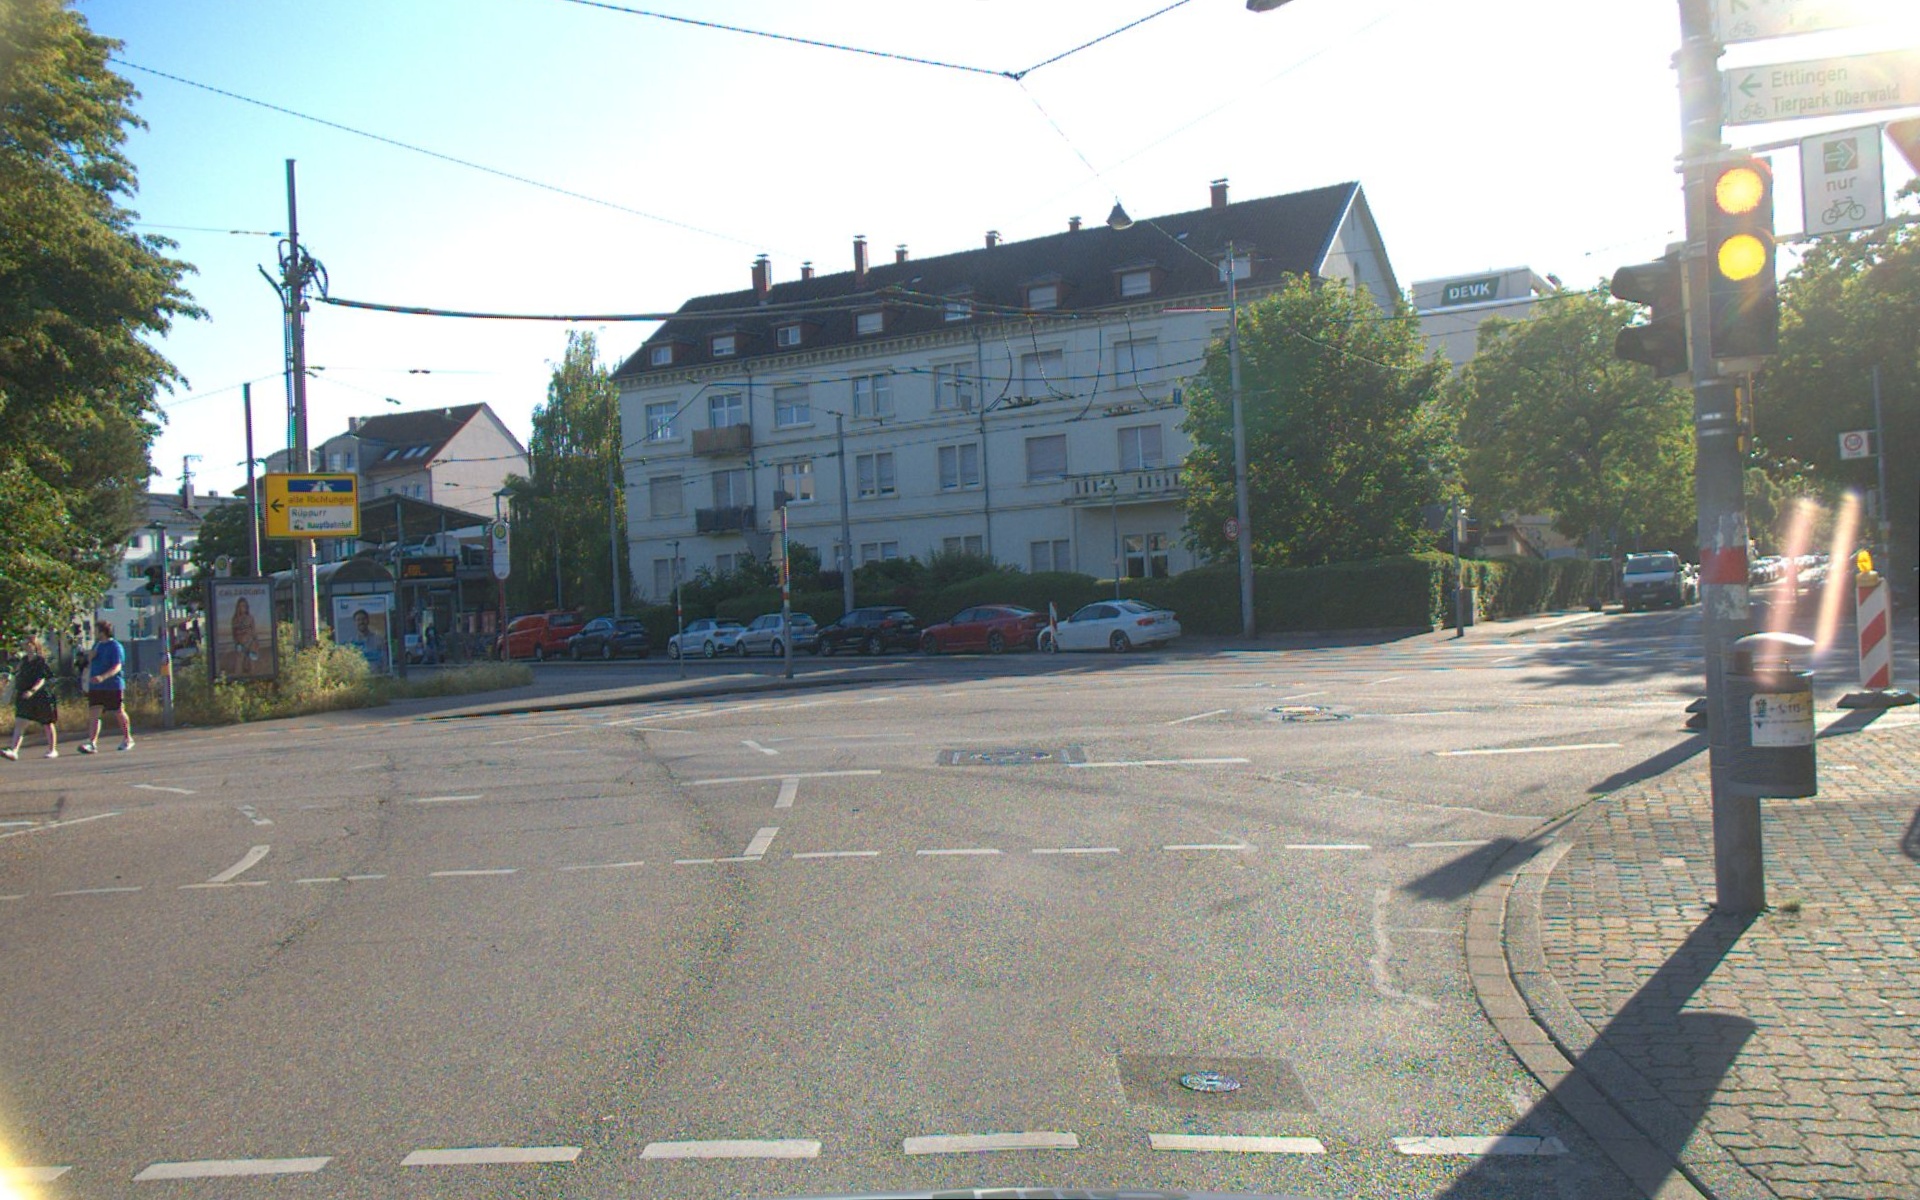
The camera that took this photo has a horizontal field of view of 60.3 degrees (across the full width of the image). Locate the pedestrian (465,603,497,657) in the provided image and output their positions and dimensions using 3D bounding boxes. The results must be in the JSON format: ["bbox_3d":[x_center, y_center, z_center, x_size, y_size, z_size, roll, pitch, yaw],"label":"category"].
[{"bbox_3d":[-18.851,1.192,65.142,0.914,2.049,0.759,-3,-1,-37],"label":"pedestrian"}]

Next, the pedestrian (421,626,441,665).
[{"bbox_3d":[-21.146,1.814,66.101,0.560,1.527,0.672,-3,0,-29],"label":"pedestrian"}]

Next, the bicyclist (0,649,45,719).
[{"bbox_3d":[-23.766,2.118,41.766,0.654,1.681,0.887,-3,0,21],"label":"bicyclist"}]

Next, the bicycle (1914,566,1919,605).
[{"bbox_3d":[24.378,-0.387,40.501,1.691,0.949,0.561,-3,0,29],"label":"bicycle"}]

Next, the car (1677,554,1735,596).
[{"bbox_3d":[35.647,-1.222,78.970,2.308,1.826,5.305,-3,0,26],"label":"car"}]

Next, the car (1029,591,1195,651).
[{"bbox_3d":[4.204,0.606,46.178,1.916,1.400,4.426,-6,2,-43],"label":"car"}]

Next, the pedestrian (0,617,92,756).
[{"bbox_3d":[-12.355,1.136,22.141,0.894,1.777,1.066,-3,0,-7],"label":"pedestrian"}]

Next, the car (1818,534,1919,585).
[{"bbox_3d":[40.821,-1.803,73.118,4.990,1.958,2.360,-3,-2,26],"label":"car"}]

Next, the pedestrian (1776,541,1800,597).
[{"bbox_3d":[28.048,-1.048,56.014,0.648,1.871,0.682,-3,0,28],"label":"pedestrian"}]

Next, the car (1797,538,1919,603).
[{"bbox_3d":[31.348,-1.001,55.668,5.510,1.958,2.360,-3,-2,26],"label":"car"}]

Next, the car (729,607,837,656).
[{"bbox_3d":[-6.205,1.105,57.764,1.970,1.472,3.663,-6,2,-41],"label":"car"}]

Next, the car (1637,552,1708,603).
[{"bbox_3d":[28.354,-0.896,65.759,2.308,1.826,5.305,-3,0,26],"label":"car"}]

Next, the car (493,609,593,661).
[{"bbox_3d":[-18.157,1.547,71.947,2.039,1.995,5.073,-6,2,-41],"label":"car"}]

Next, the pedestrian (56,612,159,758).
[{"bbox_3d":[-12.003,1.178,23.325,0.894,1.958,1.066,-3,0,-7],"label":"pedestrian"}]

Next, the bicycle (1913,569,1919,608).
[{"bbox_3d":[24.737,-0.333,41.180,1.691,0.949,0.561,-3,0,29],"label":"bicycle"}]

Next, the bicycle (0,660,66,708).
[{"bbox_3d":[-23.725,2.129,41.856,0.647,1.087,2.020,-3,0,18],"label":"bicycle"}]

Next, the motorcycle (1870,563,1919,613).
[{"bbox_3d":[22.940,-0.318,39.590,1.912,1.128,0.837,-3,-1,24],"label":"motorcycle"}]

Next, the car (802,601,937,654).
[{"bbox_3d":[-3.025,0.930,54.568,1.970,1.472,4.634,-6,2,-41],"label":"car"}]

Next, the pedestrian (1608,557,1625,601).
[{"bbox_3d":[26.857,-0.851,67.689,0.567,1.761,0.608,-3,0,23],"label":"pedestrian"}]

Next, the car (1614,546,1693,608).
[{"bbox_3d":[25.353,-0.850,60.333,2.308,2.049,5.305,-3,0,26],"label":"car"}]

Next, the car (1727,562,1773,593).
[{"bbox_3d":[51.028,-1.497,106.762,2.310,1.826,5.301,-3,0,29],"label":"car"}]

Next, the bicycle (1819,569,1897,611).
[{"bbox_3d":[22.779,-0.250,41.979,1.691,0.949,0.671,-3,0,29],"label":"bicycle"}]

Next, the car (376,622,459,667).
[{"bbox_3d":[-27.185,2.264,82.782,2.039,1.995,5.073,-6,2,-41],"label":"car"}]

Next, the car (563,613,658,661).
[{"bbox_3d":[-14.187,1.502,66.967,1.830,1.696,4.304,-6,2,-41],"label":"car"}]

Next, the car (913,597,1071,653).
[{"bbox_3d":[0.919,0.785,50.121,4.625,1.400,1.974,-3,2,44],"label":"car"}]

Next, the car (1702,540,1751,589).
[{"bbox_3d":[43.117,-2.001,92.943,2.308,2.558,5.305,-3,0,26],"label":"car"}]

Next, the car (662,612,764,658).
[{"bbox_3d":[-9.169,1.295,61.210,1.830,1.472,3.899,-6,2,-41],"label":"car"}]
